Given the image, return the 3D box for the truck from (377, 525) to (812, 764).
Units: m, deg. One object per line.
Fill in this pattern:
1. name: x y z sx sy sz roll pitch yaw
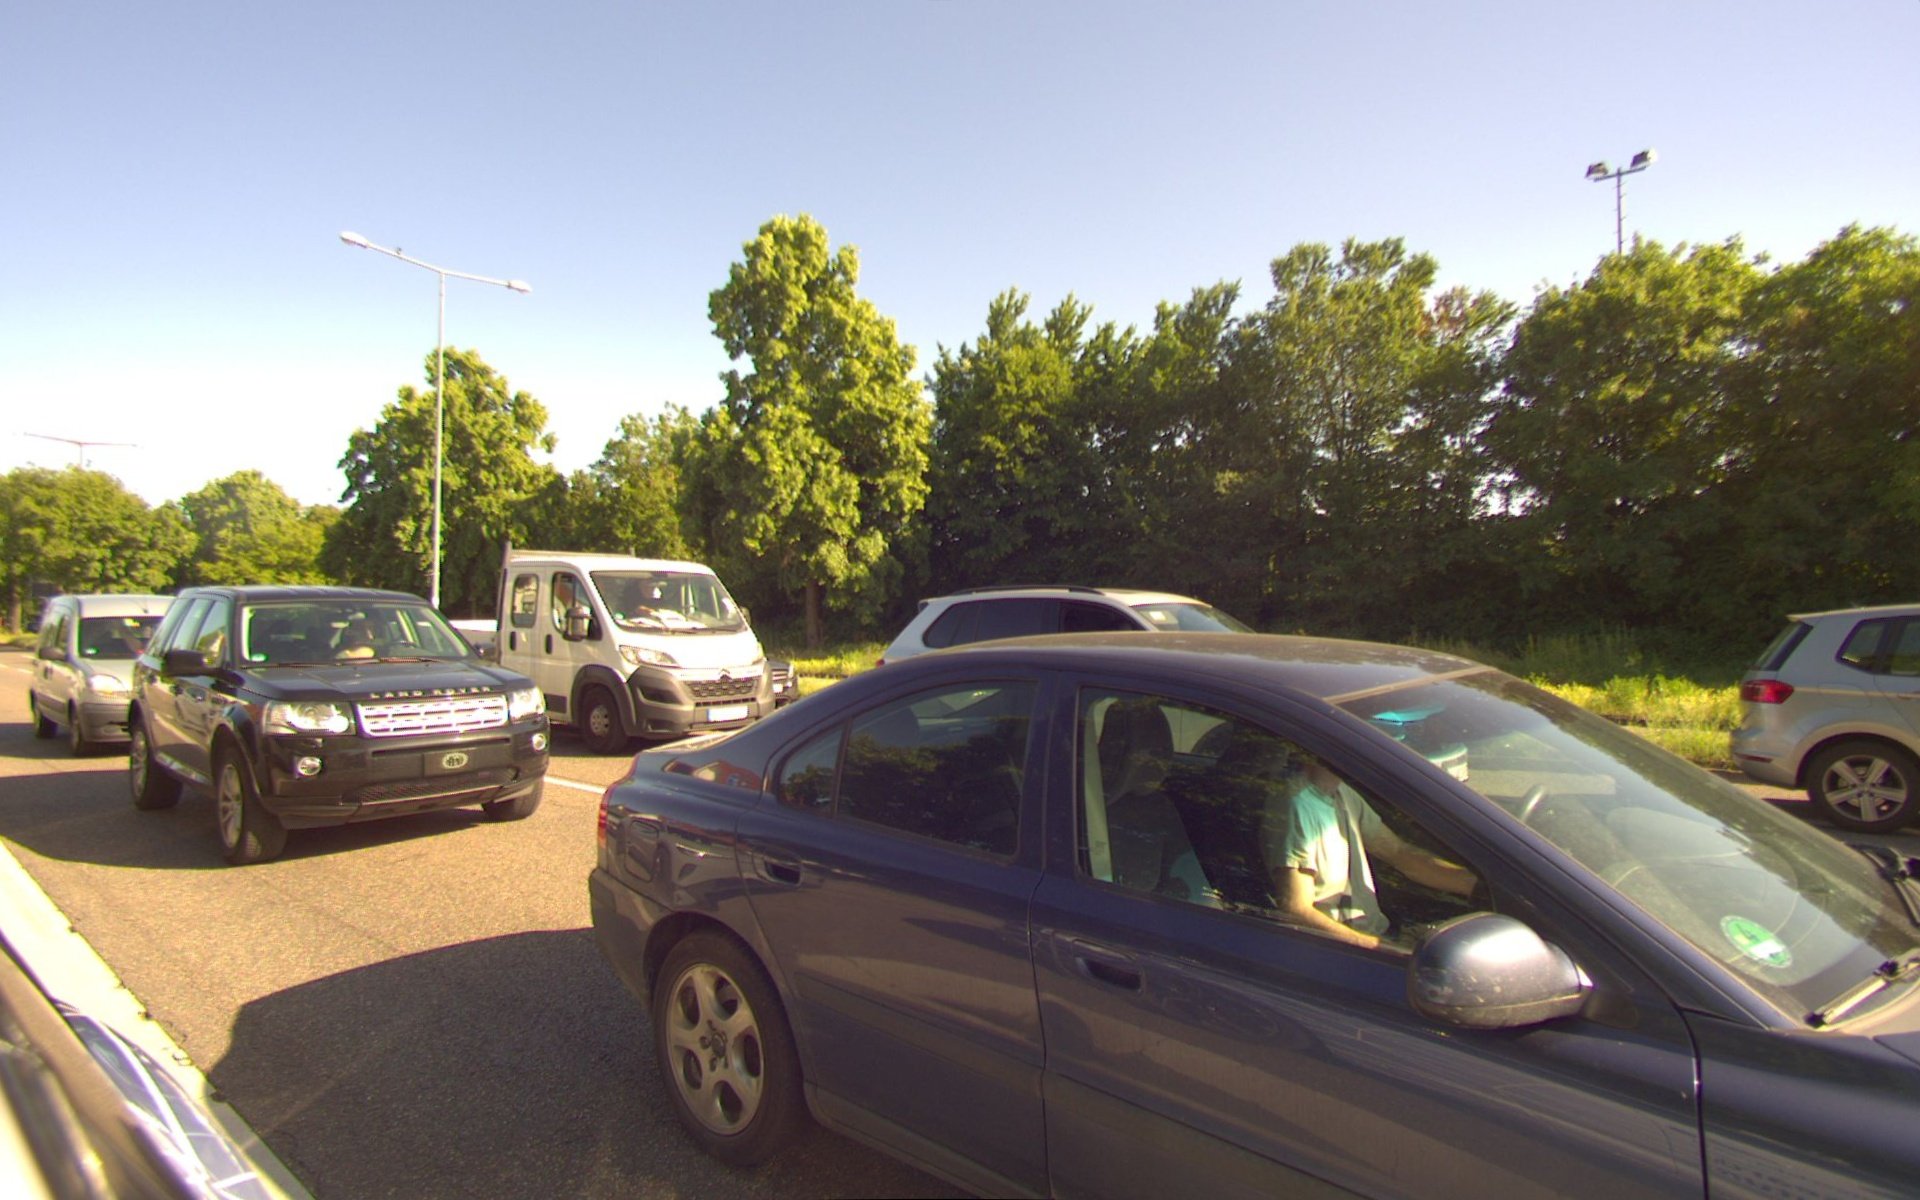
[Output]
1. truck: -4.978 0.472 12.952 6.838 2.337 2.158 -1 -1 40

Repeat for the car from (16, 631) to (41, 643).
1. car: -114.356 4.571 124.247 3.998 1.428 1.769 -2 -3 41

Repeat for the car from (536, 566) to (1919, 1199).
1. car: 0.894 0.695 2.434 4.454 1.463 1.757 -1 0 41

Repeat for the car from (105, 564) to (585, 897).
1. car: -4.693 0.706 7.430 4.384 1.744 1.793 -1 -1 41

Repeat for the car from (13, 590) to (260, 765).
1. car: -10.049 0.801 12.232 4.384 1.765 1.611 -1 -1 41

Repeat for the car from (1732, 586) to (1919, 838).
1. car: 7.633 0.722 6.422 4.206 1.623 1.810 -2 -3 42

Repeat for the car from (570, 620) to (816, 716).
1. car: -4.596 1.076 17.079 4.382 1.401 1.793 -1 -3 40

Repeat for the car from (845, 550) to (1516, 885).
1. car: 1.382 0.678 7.439 4.422 1.723 1.973 -2 -3 41
